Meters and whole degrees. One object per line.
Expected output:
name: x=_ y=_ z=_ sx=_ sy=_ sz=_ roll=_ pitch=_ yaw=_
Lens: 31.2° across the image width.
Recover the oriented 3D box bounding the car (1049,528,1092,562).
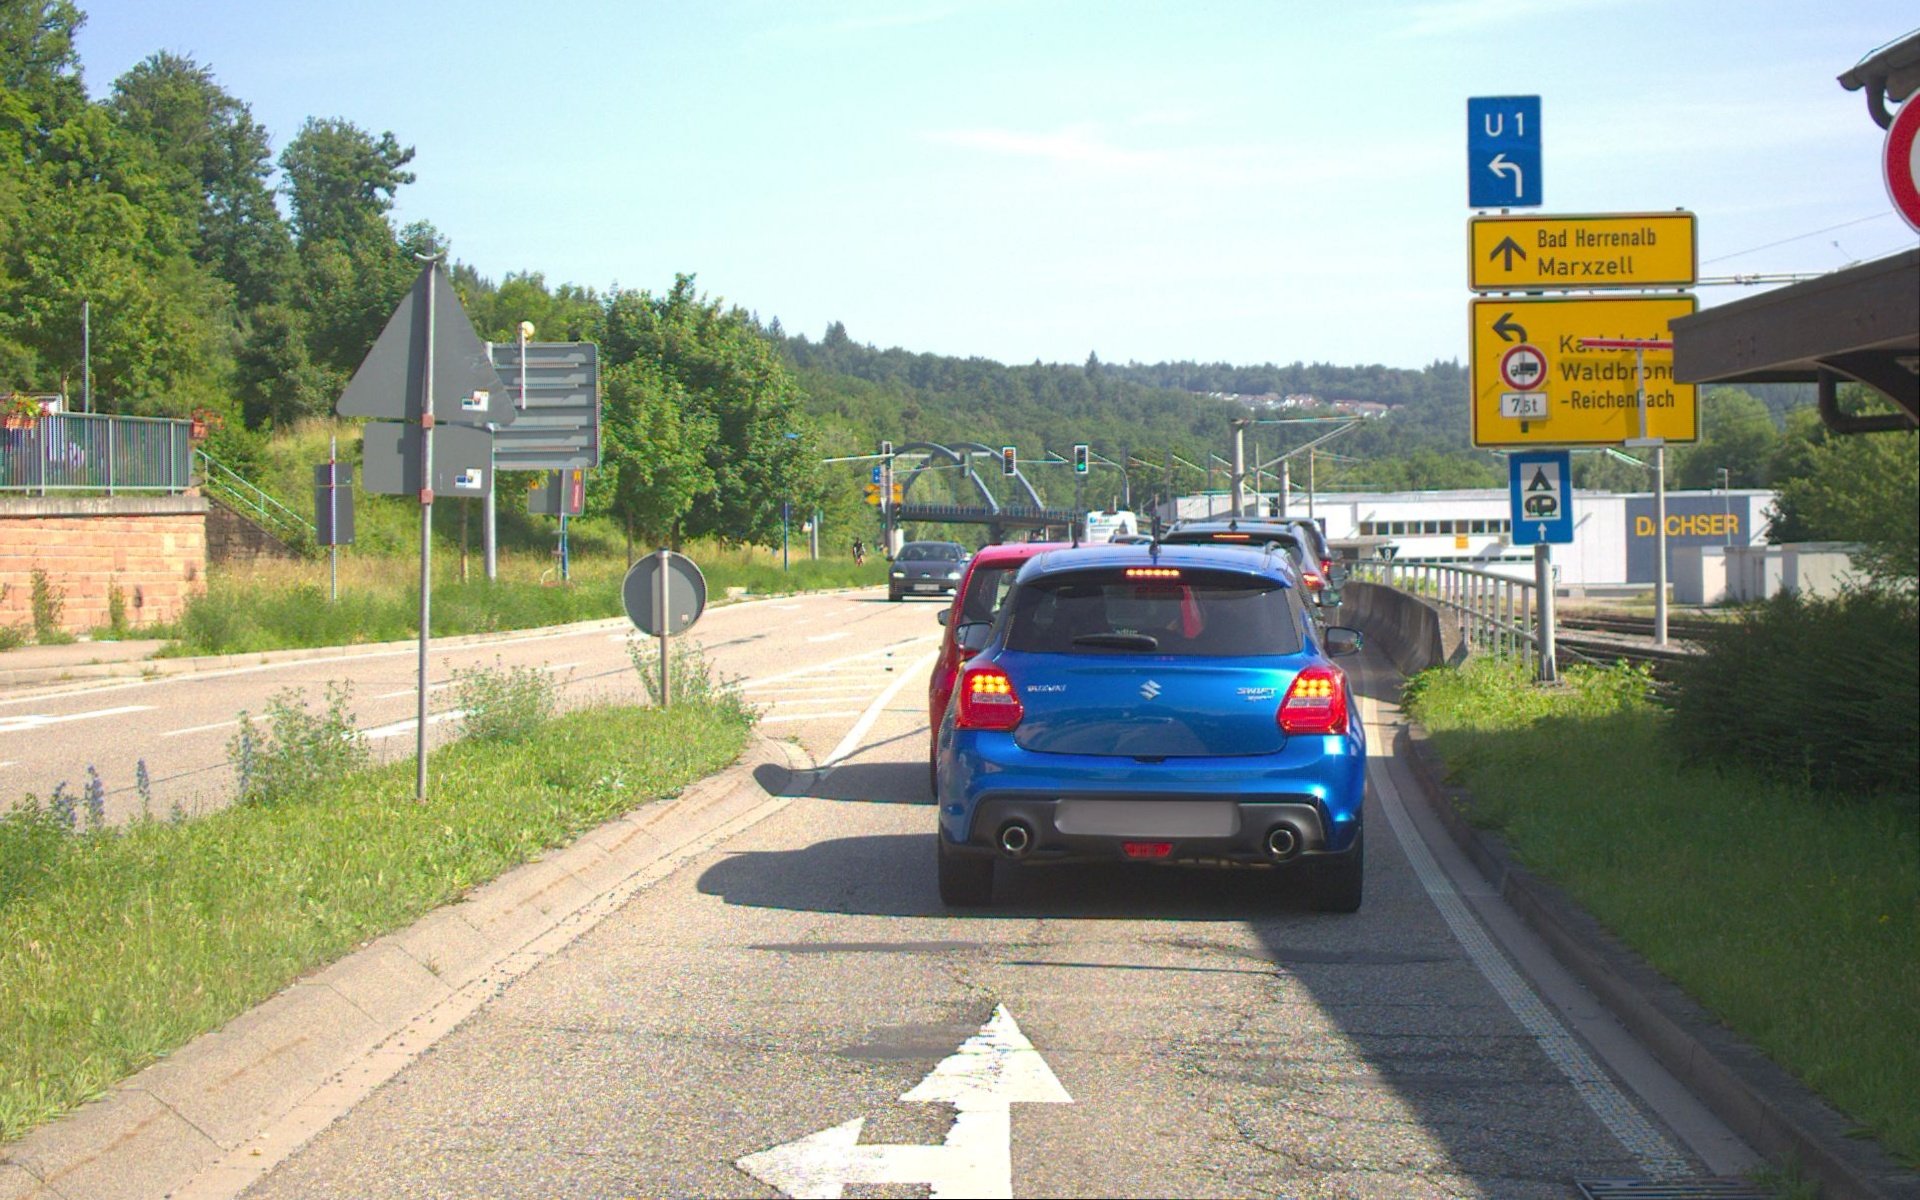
car: x=5.328 y=-2.654 z=165.138 sx=1.994 sy=1.585 sz=4.000 roll=2 pitch=1 yaw=2

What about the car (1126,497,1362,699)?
car: x=2.637 y=-0.073 z=32.220 sx=1.994 sy=1.680 sz=4.497 roll=2 pitch=2 yaw=4

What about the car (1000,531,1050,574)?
car: x=2.823 y=-2.042 z=148.374 sx=1.994 sy=1.777 sz=4.000 roll=2 pitch=1 yaw=3

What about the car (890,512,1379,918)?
car: x=0.739 y=0.396 z=15.284 sx=1.868 sy=1.543 sz=4.000 roll=1 pitch=1 yaw=2

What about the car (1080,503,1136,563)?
car: x=5.480 y=-2.472 z=127.273 sx=1.994 sy=2.137 sz=4.720 roll=2 pitch=1 yaw=3

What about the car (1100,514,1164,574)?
car: x=5.662 y=-1.871 z=113.186 sx=1.994 sy=1.810 sz=4.000 roll=2 pitch=2 yaw=3

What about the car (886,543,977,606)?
car: x=-0.677 y=-0.659 z=85.471 sx=1.792 sy=1.465 sz=4.715 roll=1 pitch=1 yaw=5

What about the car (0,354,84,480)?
car: x=-15.459 y=-2.929 z=54.810 sx=2.020 sy=1.913 sz=4.732 roll=2 pitch=2 yaw=-4

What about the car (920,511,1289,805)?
car: x=0.938 y=0.286 z=20.950 sx=1.994 sy=1.566 sz=4.000 roll=2 pitch=1 yaw=4

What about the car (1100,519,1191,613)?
car: x=4.323 y=-0.830 z=80.499 sx=1.994 sy=2.006 sz=4.000 roll=2 pitch=2 yaw=3

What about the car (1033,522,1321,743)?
car: x=1.675 y=0.176 z=26.184 sx=1.994 sy=1.526 sz=4.601 roll=0 pitch=1 yaw=4

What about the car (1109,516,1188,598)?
car: x=5.010 y=-1.179 z=91.924 sx=1.994 sy=2.006 sz=4.000 roll=2 pitch=2 yaw=3

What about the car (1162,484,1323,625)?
car: x=3.771 y=-0.632 z=46.123 sx=1.994 sy=1.730 sz=4.000 roll=2 pitch=1 yaw=4

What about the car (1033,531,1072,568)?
car: x=5.174 y=-2.822 z=191.967 sx=1.993 sy=2.007 sz=4.000 roll=1 pitch=1 yaw=-1
